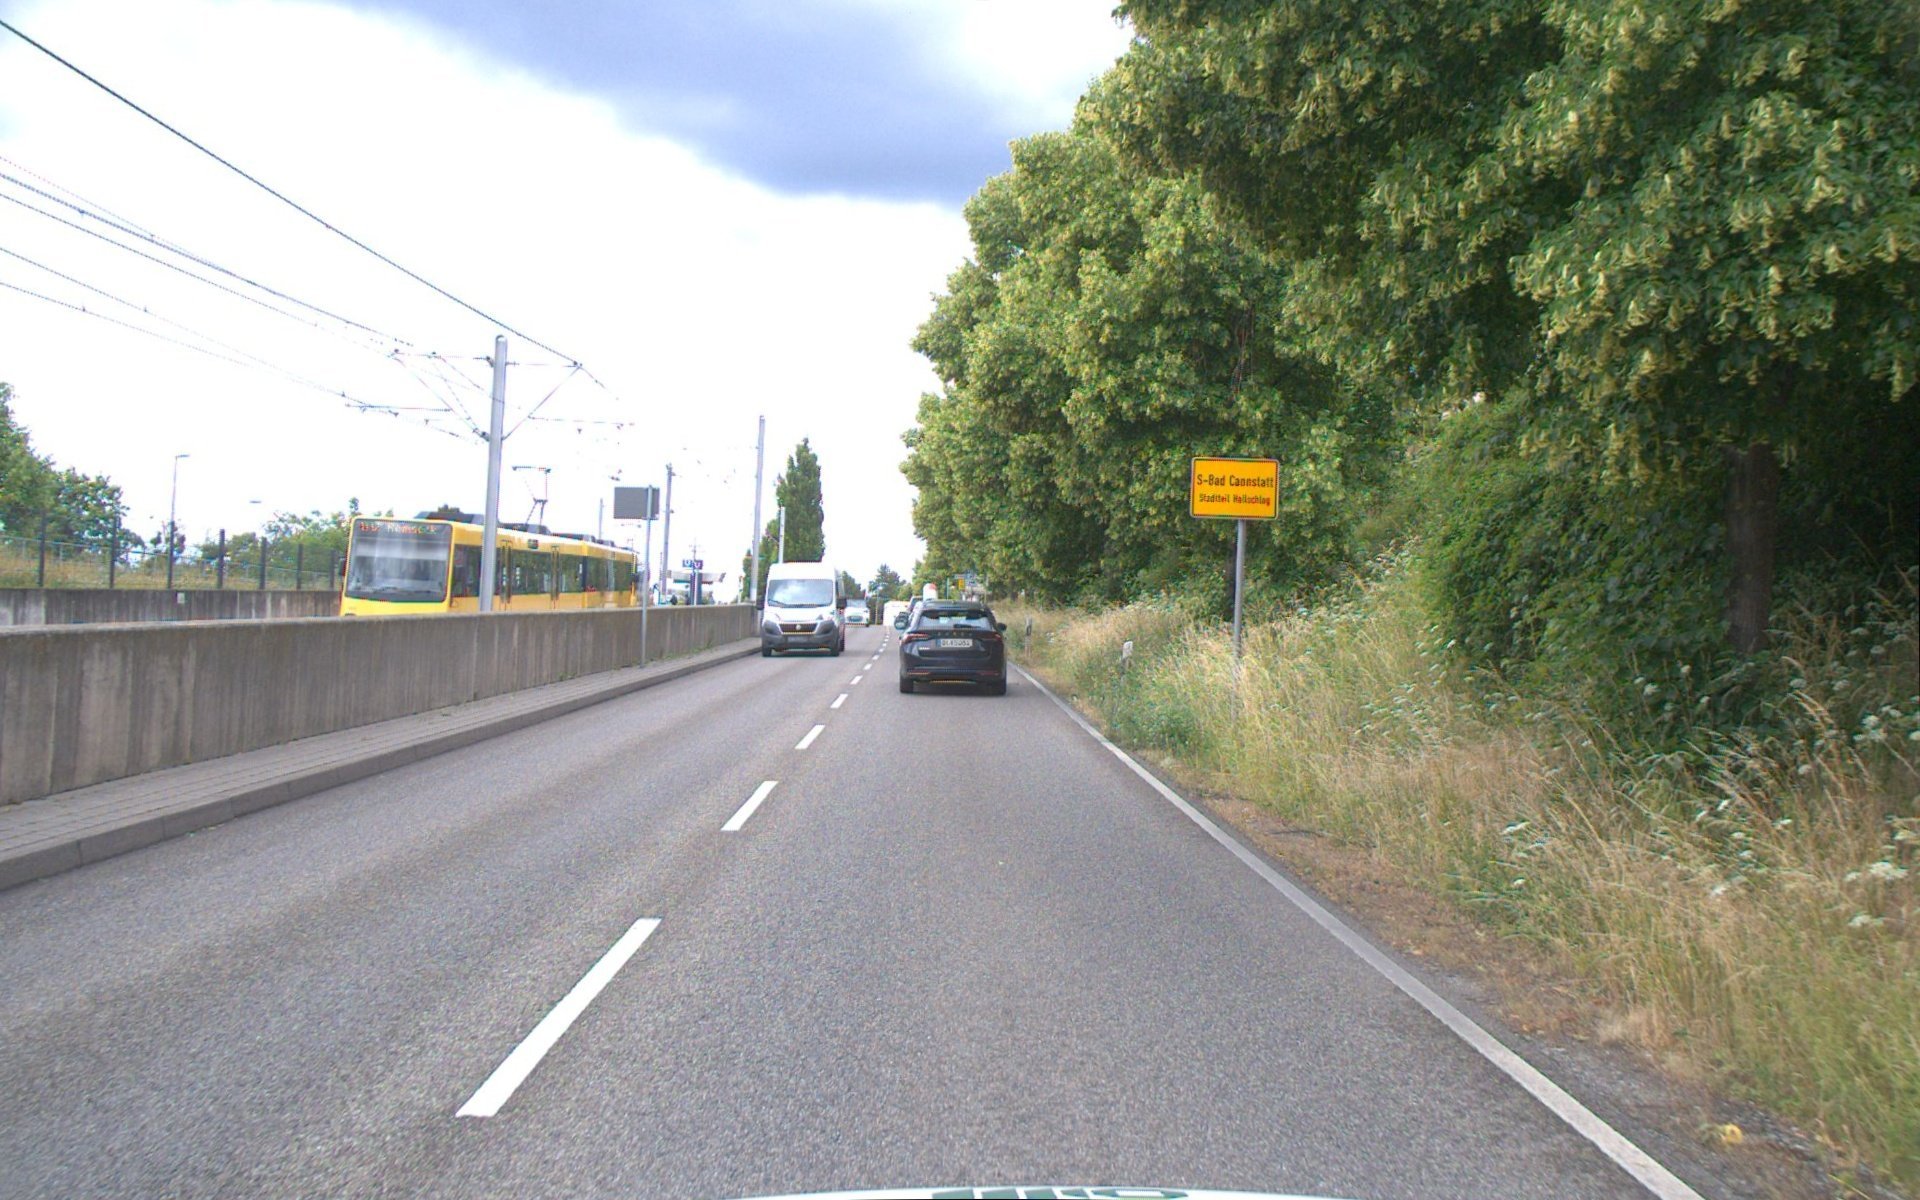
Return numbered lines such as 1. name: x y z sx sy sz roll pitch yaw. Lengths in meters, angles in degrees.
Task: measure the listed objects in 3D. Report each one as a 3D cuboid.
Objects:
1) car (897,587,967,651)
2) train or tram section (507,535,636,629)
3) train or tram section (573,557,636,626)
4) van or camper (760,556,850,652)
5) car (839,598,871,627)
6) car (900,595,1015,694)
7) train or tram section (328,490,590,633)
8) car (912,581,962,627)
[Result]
1. car: -0.840 0.535 48.740 1.953 1.783 3.999 1 0 -1
2. train or tram section: -15.009 -0.497 65.502 2.750 3.130 19.072 1 -1 -7
3. train or tram section: -17.919 -0.277 84.286 2.751 3.078 19.253 1 -1 -11
4. van or camper: -4.185 0.099 45.604 2.040 2.438 6.135 1 0 -2
5. car: -5.837 0.674 91.933 1.697 1.599 3.996 0 0 -5
6. car: -0.074 0.688 27.393 1.745 1.493 3.999 1 0 -1
7. train or tram section: -13.359 -0.738 46.575 2.756 3.172 18.899 1 -1 -4
8. car: -0.951 0.180 66.956 1.953 1.771 3.999 1 -1 -1
